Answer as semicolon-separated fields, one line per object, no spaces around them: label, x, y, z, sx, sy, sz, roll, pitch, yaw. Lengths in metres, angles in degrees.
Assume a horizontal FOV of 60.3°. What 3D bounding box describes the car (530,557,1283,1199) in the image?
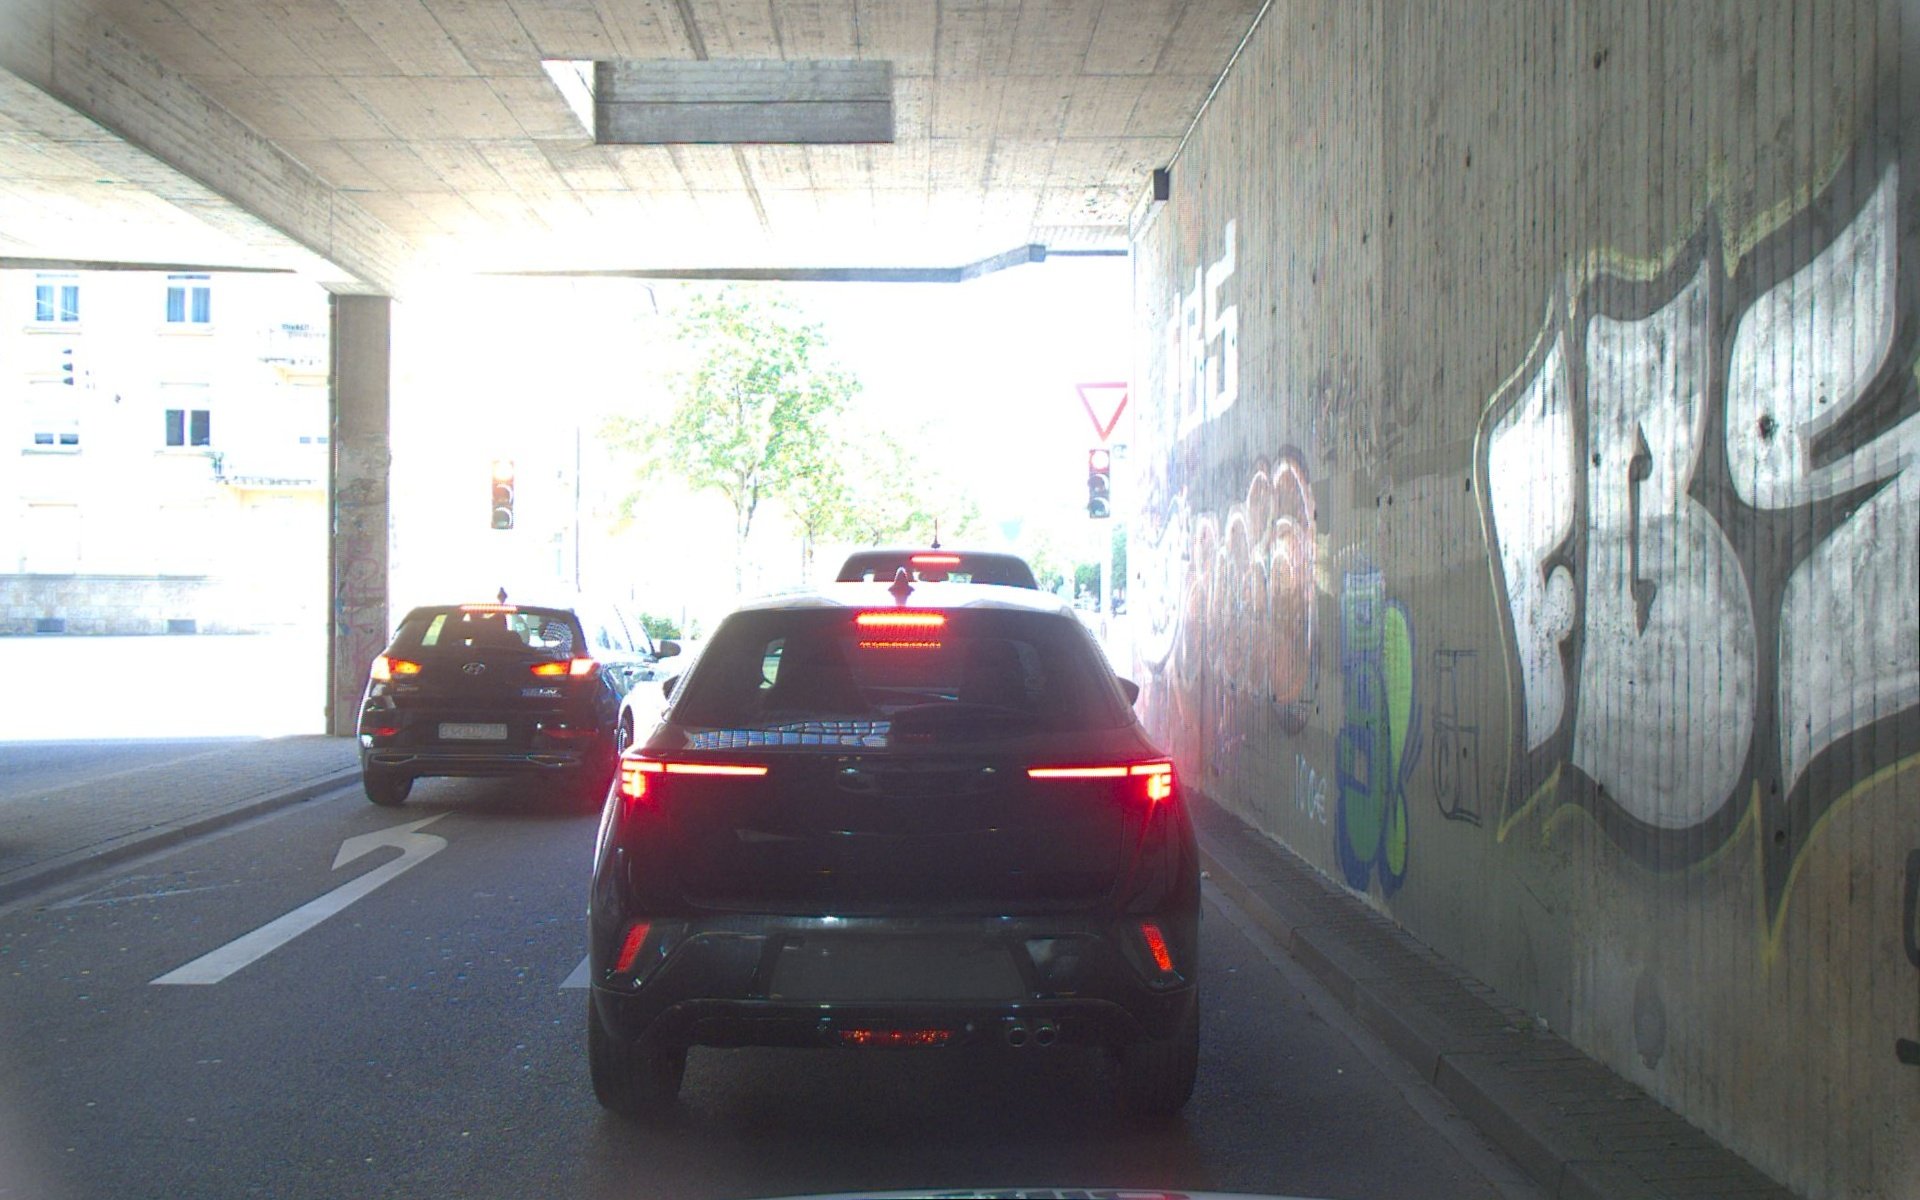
car;-0.156;0.671;6.054;1.844;1.565;3.963;0;0;-1

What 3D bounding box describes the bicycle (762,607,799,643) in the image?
bicycle;-5.558;0.770;51.416;0.716;1.086;1.690;1;0;9

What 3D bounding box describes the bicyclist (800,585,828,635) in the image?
bicyclist;-4.793;0.335;54.299;0.713;1.609;0.815;1;-1;9

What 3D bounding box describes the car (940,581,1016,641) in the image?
car;0.496;0.338;44.173;1.927;1.523;3.896;0;-1;1

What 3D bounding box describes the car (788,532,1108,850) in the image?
car;-0.096;0.533;11.879;1.906;1.892;3.963;0;0;-1

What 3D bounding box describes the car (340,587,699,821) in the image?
car;-3.142;0.656;12.672;1.744;1.472;4.177;1;0;-2

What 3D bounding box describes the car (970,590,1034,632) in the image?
car;1.621;0.445;62.210;1.926;1.523;3.899;0;-1;8

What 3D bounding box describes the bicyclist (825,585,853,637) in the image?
bicyclist;-3.801;0.338;52.009;0.713;1.609;0.815;1;-1;9

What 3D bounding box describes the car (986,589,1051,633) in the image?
car;2.466;0.488;69.032;2.173;1.749;4.463;0;-1;9

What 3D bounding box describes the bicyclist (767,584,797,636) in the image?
bicyclist;-5.539;0.305;51.449;0.713;1.609;0.815;1;-1;9

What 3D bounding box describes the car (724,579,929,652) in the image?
car;-2.926;0.338;36.856;4.293;1.579;1.884;0;0;4
